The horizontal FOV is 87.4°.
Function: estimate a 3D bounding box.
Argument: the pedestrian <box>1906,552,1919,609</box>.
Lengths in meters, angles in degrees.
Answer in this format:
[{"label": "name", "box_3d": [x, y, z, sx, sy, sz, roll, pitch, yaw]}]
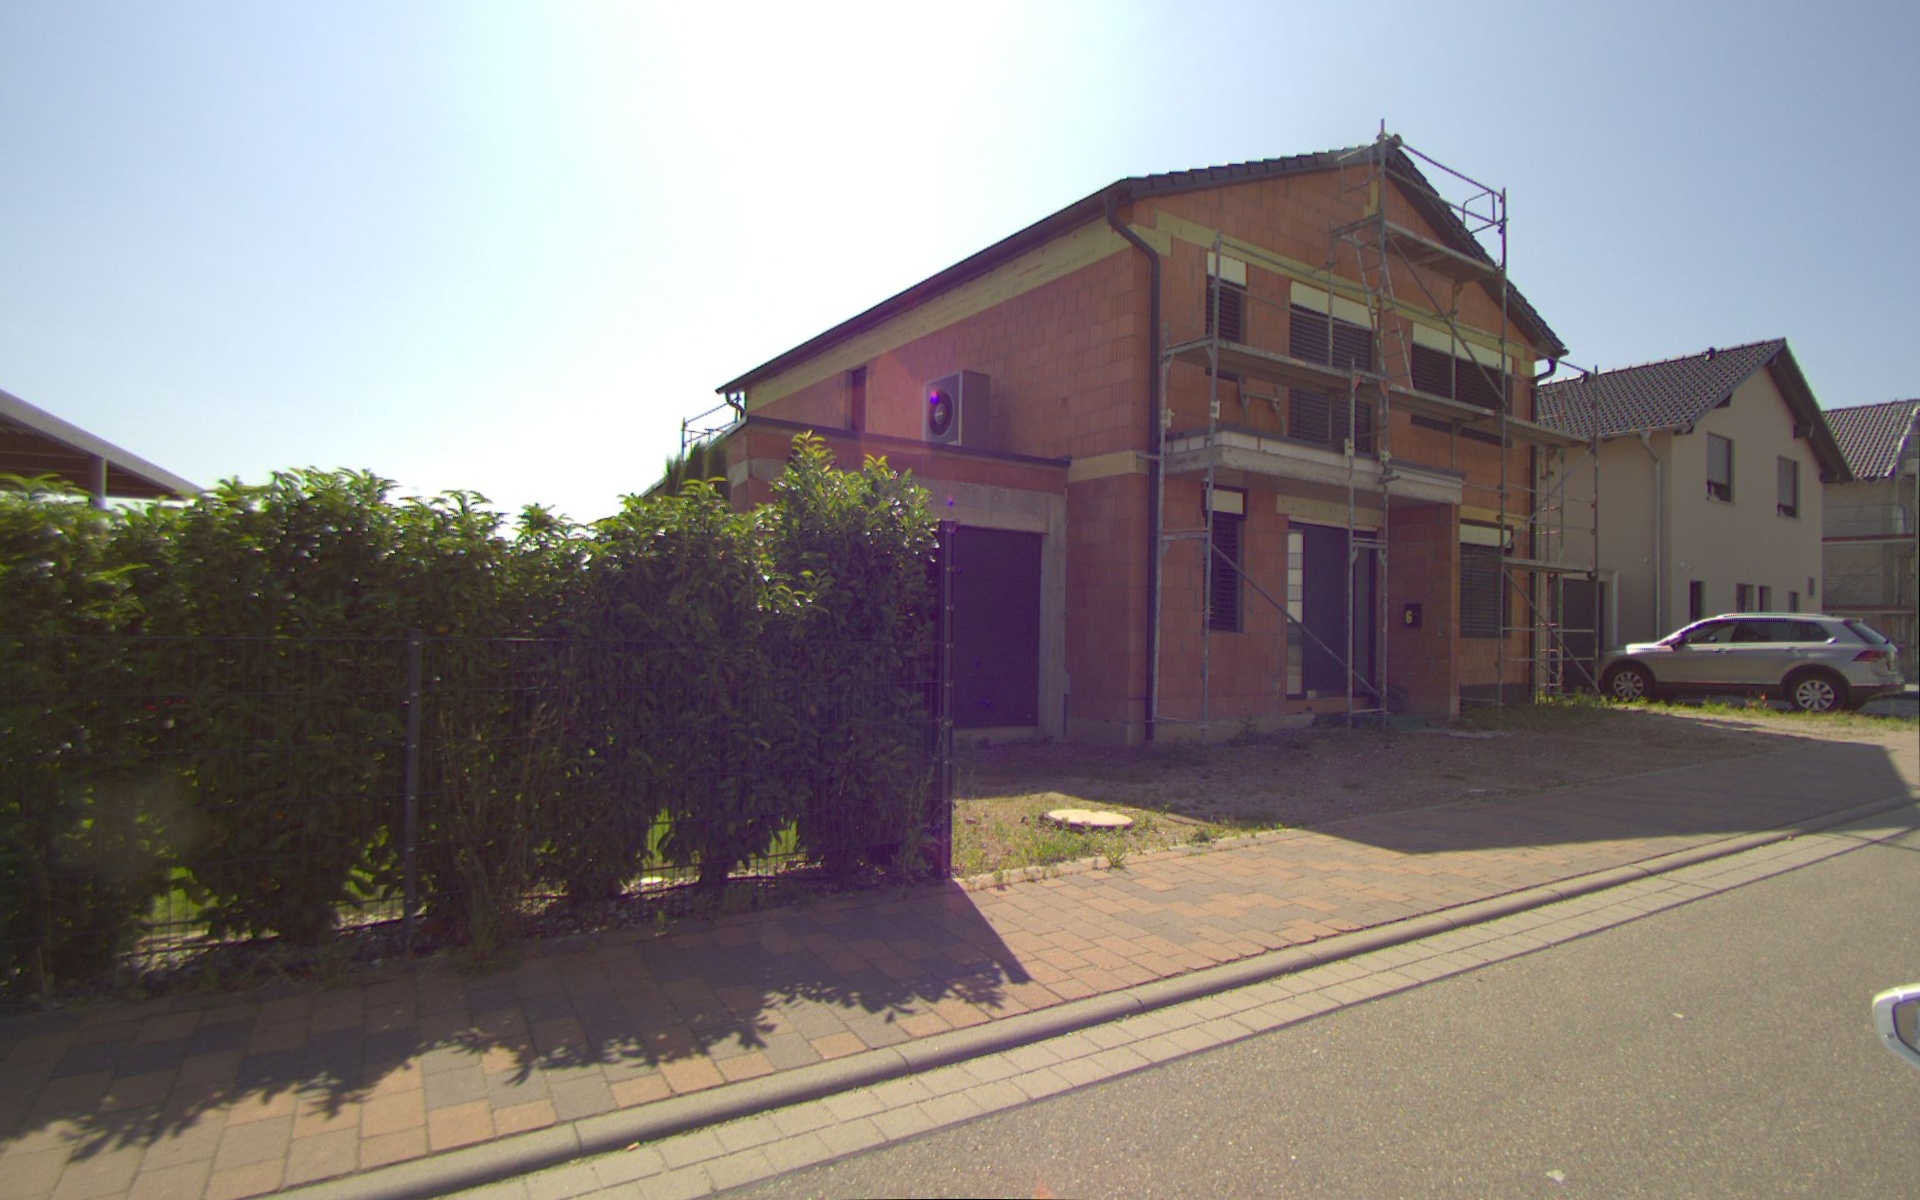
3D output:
[{"label": "pedestrian", "box_3d": [30.073, -0.598, 31.243, 0.733, 1.701, 0.579, 1, -3, 10]}]

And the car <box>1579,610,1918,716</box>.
[{"label": "car", "box_3d": [13.789, 1.038, 17.818, 1.982, 1.633, 4.392, 1, -2, -37]}]
